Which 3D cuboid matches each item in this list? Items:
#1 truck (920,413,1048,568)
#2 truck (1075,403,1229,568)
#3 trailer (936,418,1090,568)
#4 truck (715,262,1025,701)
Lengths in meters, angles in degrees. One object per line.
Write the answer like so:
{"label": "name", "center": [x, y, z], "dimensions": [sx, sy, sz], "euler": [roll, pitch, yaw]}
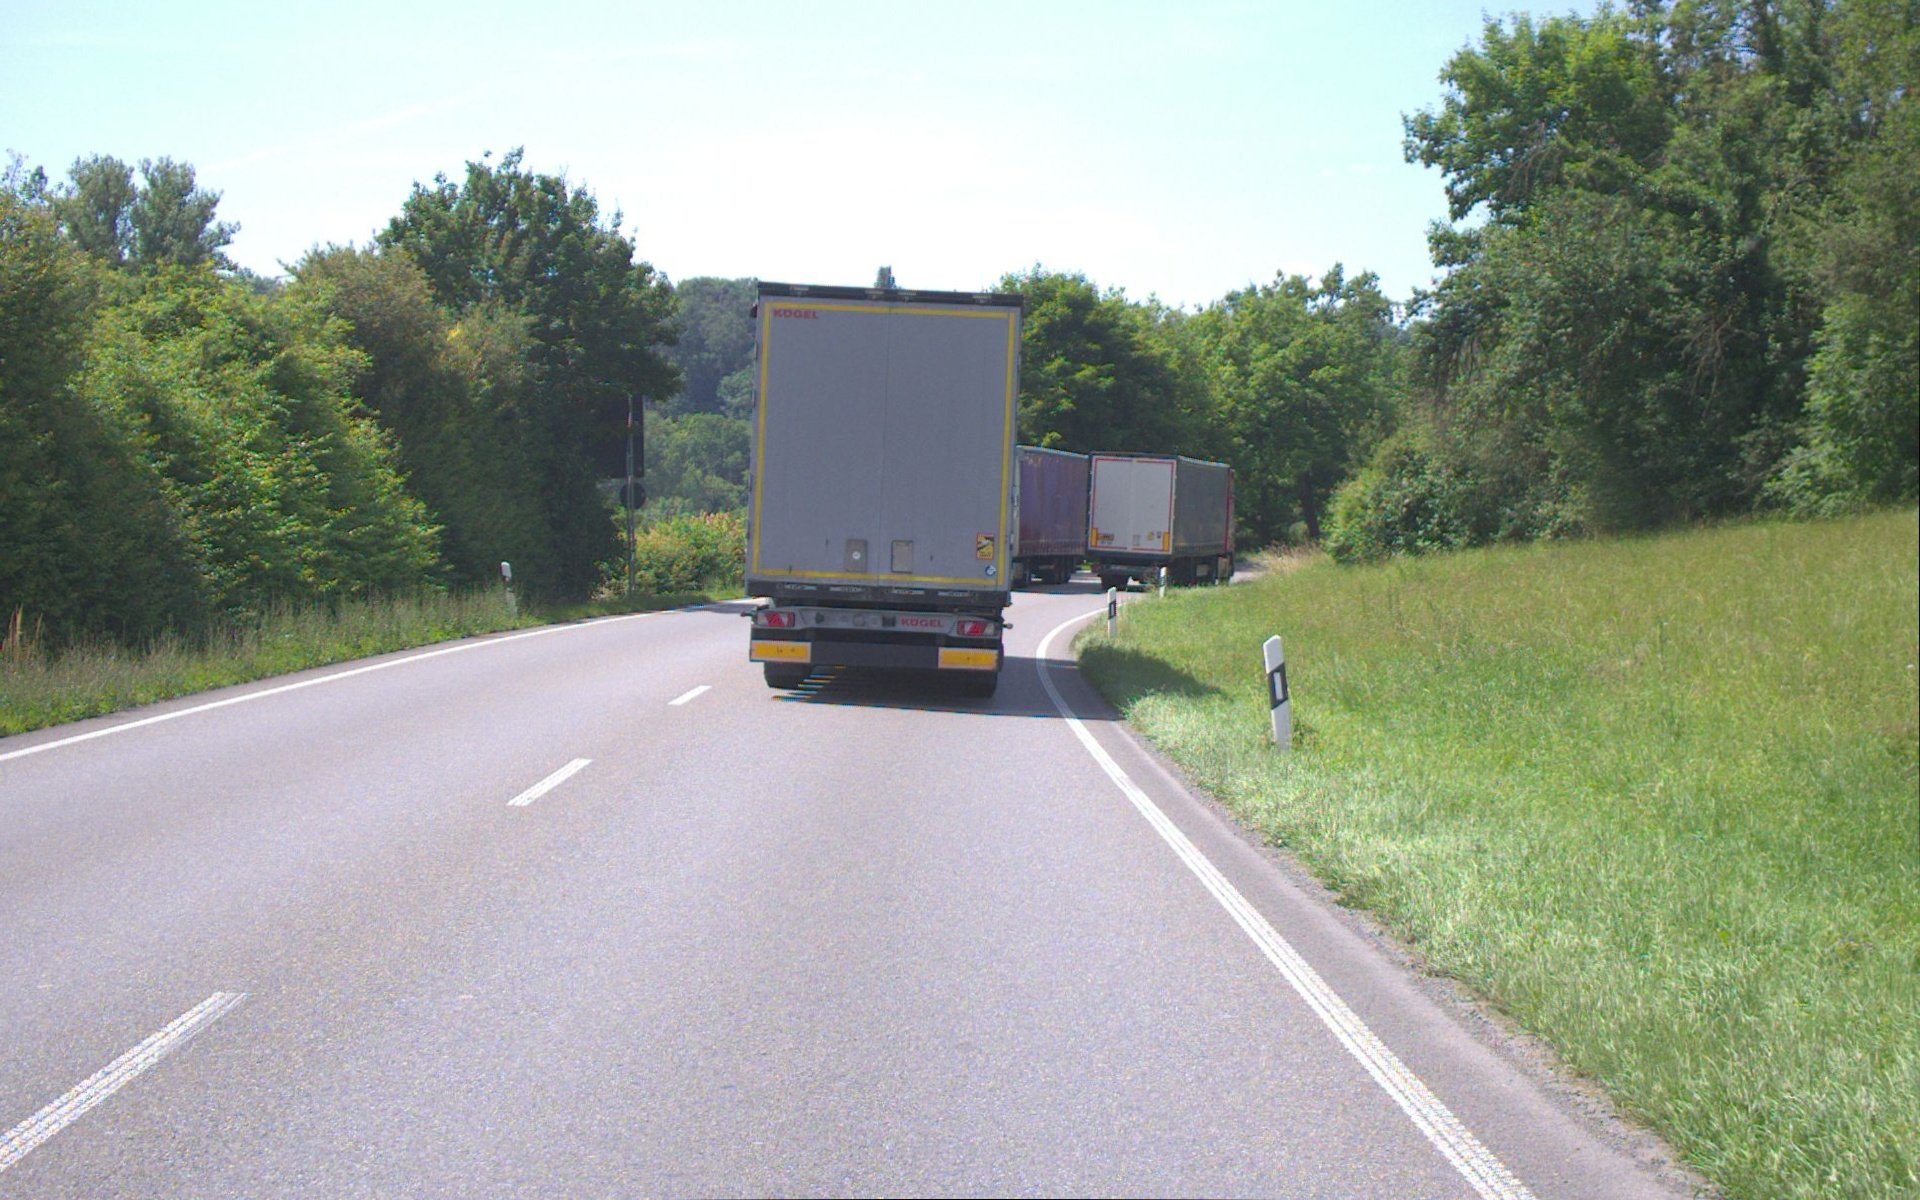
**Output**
{"label": "truck", "center": [0.738, -3.053, 97.300], "dimensions": [2.560, 4.101, 5.797], "euler": [4, 1, 9]}
{"label": "truck", "center": [6.201, -3.587, 108.000], "dimensions": [3.106, 4.689, 16.584], "euler": [2, 2, 9]}
{"label": "trailer", "center": [1.746, -3.113, 104.080], "dimensions": [2.569, 4.094, 13.657], "euler": [4, 1, 9]}
{"label": "truck", "center": [-0.858, -1.235, 40.129], "dimensions": [2.801, 4.054, 15.326], "euler": [2, 1, 0]}
